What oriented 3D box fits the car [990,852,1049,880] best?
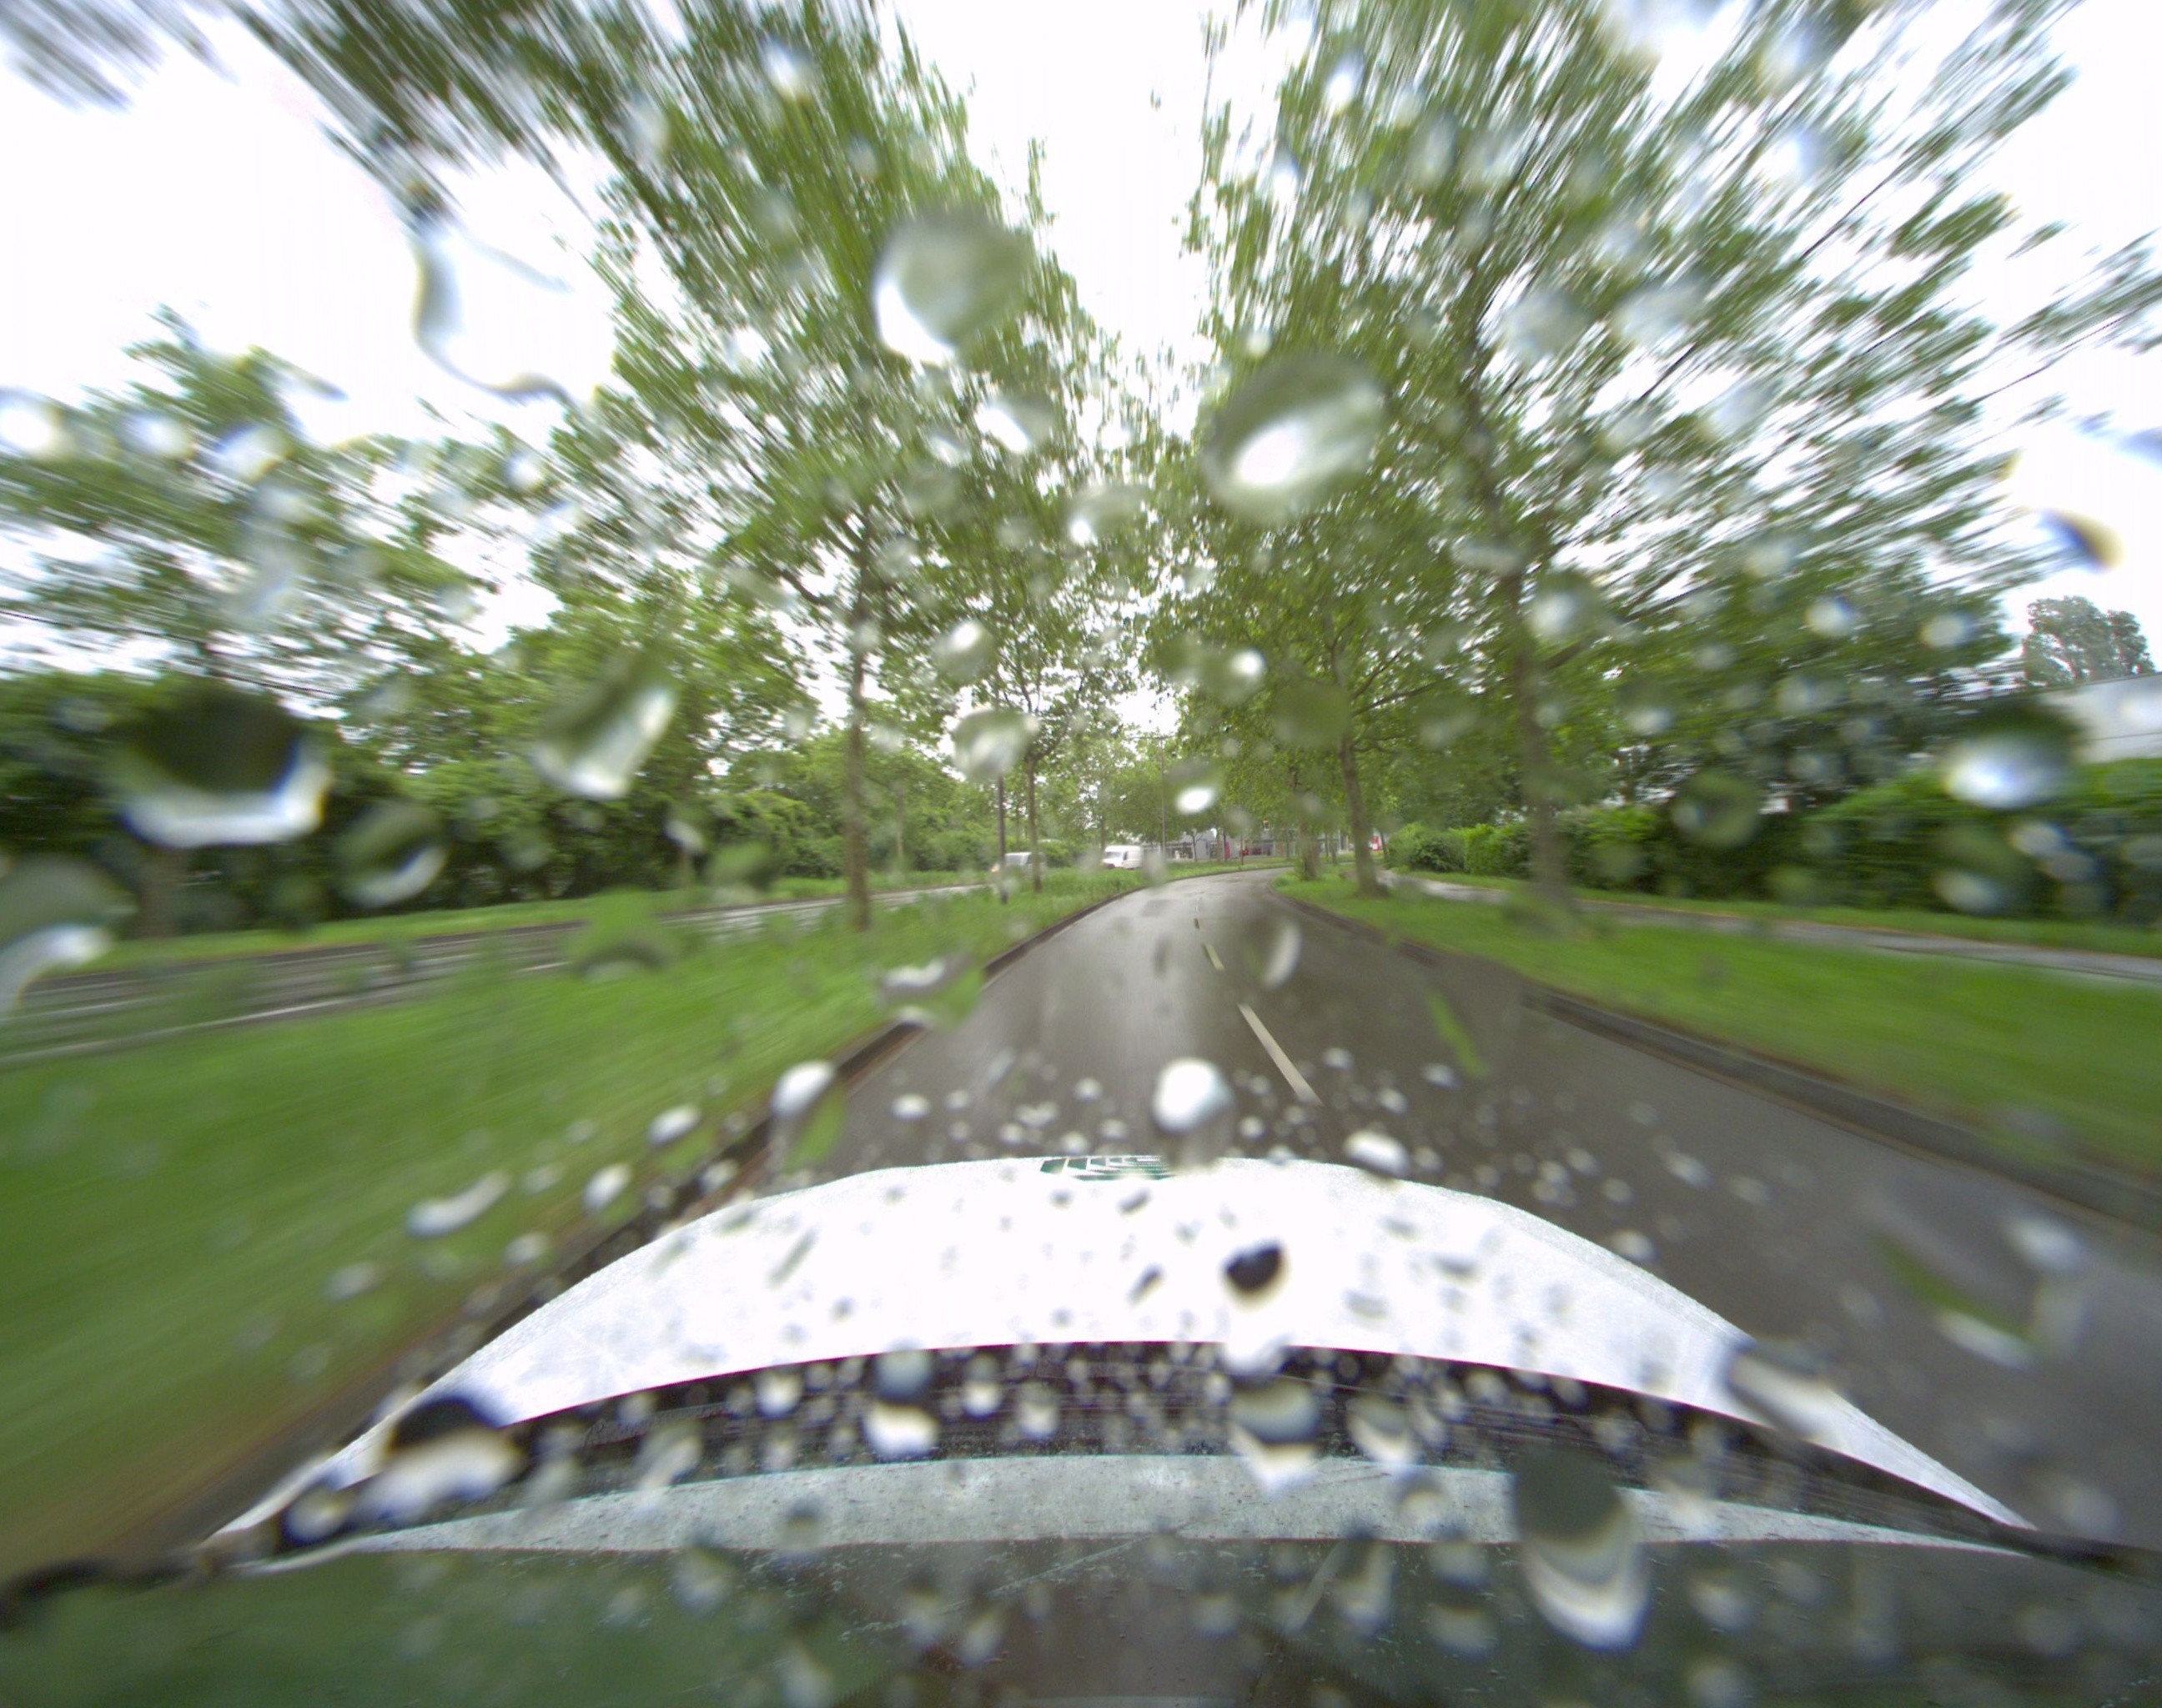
[{"bbox_3d":[-3.808,0.705,51.281,1.955,1.564,4.754,-2,0,19],"label":"car"}]

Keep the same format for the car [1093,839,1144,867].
[{"bbox_3d":[3.293,-0.135,69.700,2.262,2.271,6.001,-2,0,24],"label":"car"}]
